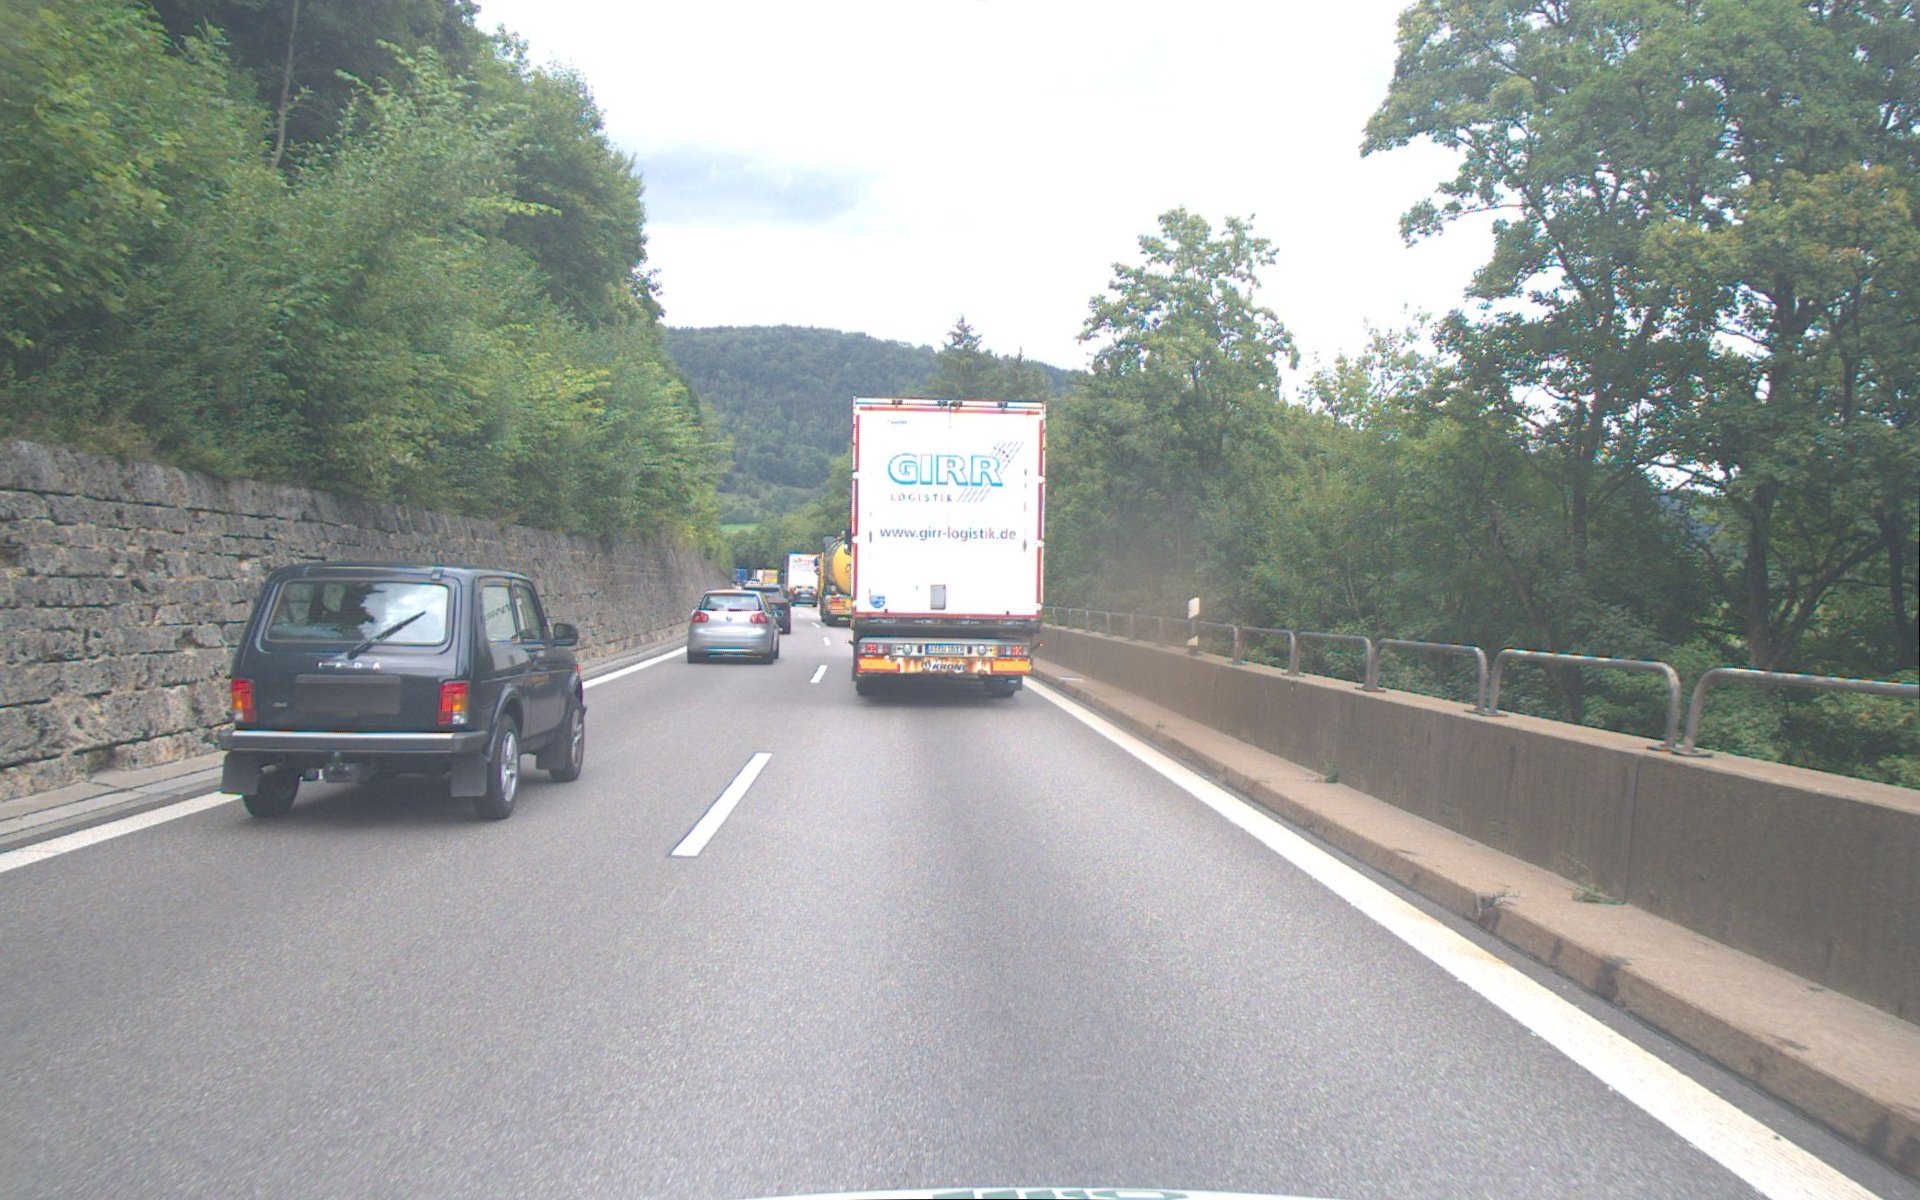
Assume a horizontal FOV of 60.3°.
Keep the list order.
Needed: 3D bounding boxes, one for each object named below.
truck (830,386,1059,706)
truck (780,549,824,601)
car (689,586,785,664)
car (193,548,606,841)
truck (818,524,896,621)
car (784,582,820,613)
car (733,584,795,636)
[{"bbox_3d":[-0.309,-0.696,25.767,2.850,4.030,9.276,1,0,-1],"label":"truck"},{"bbox_3d":[-13.134,-1.989,138.119,3.443,3.914,11.763,2,-1,-5],"label":"truck"},{"bbox_3d":[-4.582,0.494,34.458,1.695,1.512,3.997,1,0,-4],"label":"car"},{"bbox_3d":[-3.665,0.553,11.586,1.635,1.667,4.066,1,0,-3],"label":"car"},{"bbox_3d":[-4.304,-1.050,67.274,2.439,3.634,9.292,1,0,-8],"label":"truck"},{"bbox_3d":[-10.762,-0.147,112.940,1.953,2.049,4.000,2,-1,0],"label":"car"},{"bbox_3d":[-6.456,0.306,54.879,1.879,1.622,4.174,1,0,-5],"label":"car"}]
